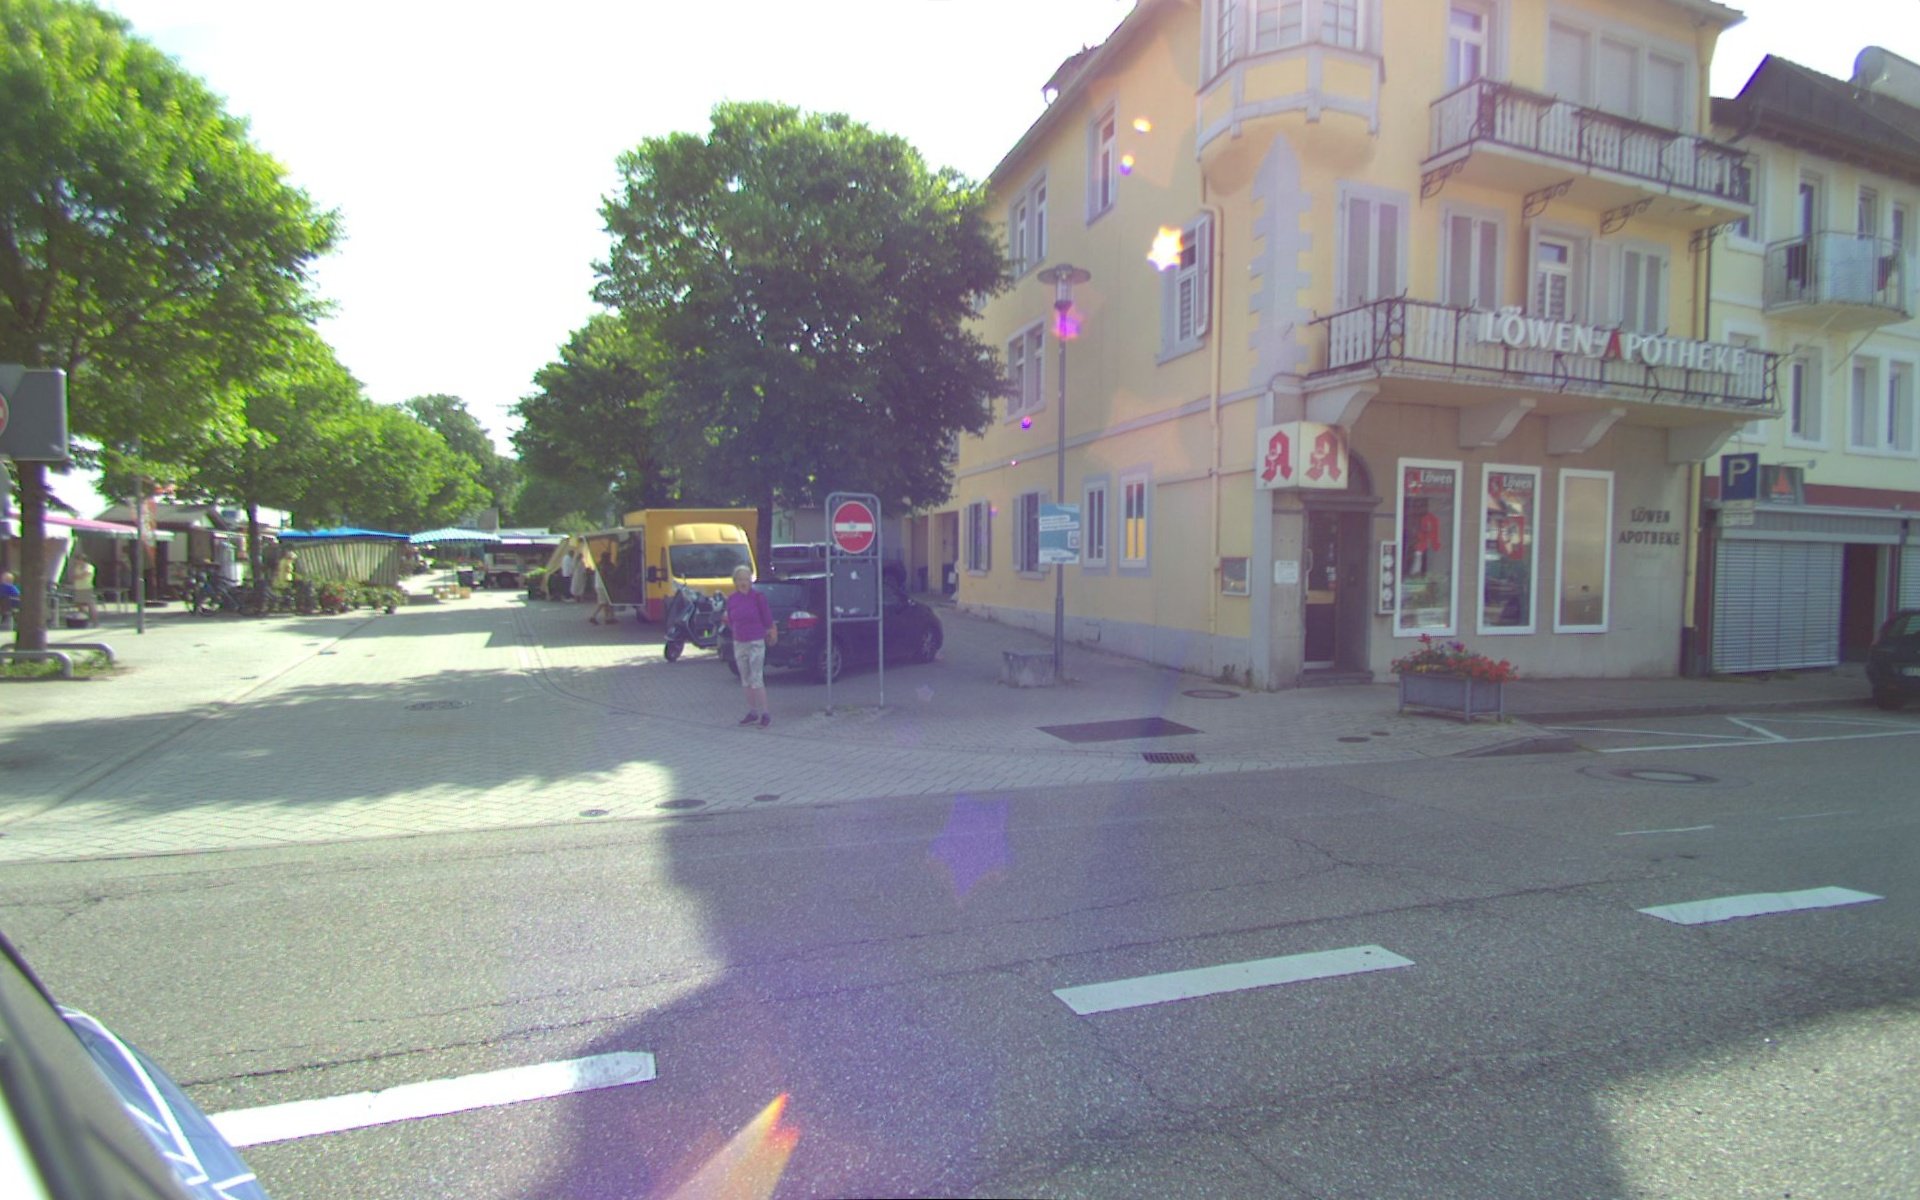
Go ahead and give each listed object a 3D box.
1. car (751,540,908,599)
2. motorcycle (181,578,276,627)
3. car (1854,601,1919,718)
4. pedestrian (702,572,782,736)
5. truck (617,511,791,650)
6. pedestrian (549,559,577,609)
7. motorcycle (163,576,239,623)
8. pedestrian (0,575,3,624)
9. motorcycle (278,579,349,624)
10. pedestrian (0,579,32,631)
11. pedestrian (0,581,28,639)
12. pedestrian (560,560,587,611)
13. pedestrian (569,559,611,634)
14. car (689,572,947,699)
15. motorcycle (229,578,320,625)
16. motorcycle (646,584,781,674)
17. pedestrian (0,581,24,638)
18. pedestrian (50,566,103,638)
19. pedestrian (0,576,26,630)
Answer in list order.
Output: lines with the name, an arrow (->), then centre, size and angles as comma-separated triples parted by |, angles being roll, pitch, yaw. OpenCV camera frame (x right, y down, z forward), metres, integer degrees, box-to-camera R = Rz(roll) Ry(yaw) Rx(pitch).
car -> -4.462, -1.004, 34.682 | 4.985, 1.905, 2.007 | 0, 1, -25
motorcycle -> -19.519, 0.056, 27.028 | 1.974, 1.204, 0.645 | 2, 1, -8
car -> 14.826, 0.823, 14.355 | 3.506, 1.580, 1.859 | 0, 1, -23
pedestrian -> -2.371, 0.567, 11.064 | 0.672, 1.727, 0.616 | 0, 2, 9
truck -> -6.577, -0.610, 24.812 | 2.958, 2.778, 8.892 | -1, 3, -22
pedestrian -> -13.682, -0.541, 34.873 | 0.671, 1.694, 0.584 | -3, 2, -37
motorcycle -> -20.745, -0.006, 27.683 | 1.506, 1.204, 0.646 | 2, 0, -21
pedestrian -> -23.830, -0.012, 24.633 | 0.562, 1.210, 0.653 | 2, 1, -20
motorcycle -> -18.498, 0.037, 28.960 | 1.991, 1.204, 0.639 | 3, 1, 21
pedestrian -> -22.577, 0.113, 24.039 | 0.562, 1.210, 0.653 | 2, 1, -20
pedestrian -> -20.353, 0.214, 21.534 | 0.688, 1.210, 0.574 | 2, 2, -35
pedestrian -> -13.165, -0.518, 34.501 | 0.671, 1.694, 0.584 | -3, 4, -38
pedestrian -> -9.119, -0.106, 24.966 | 0.671, 1.799, 0.727 | -4, 4, -43
car -> -2.000, 0.406, 15.405 | 1.916, 1.554, 3.920 | 1, 4, 30
motorcycle -> -18.861, 0.034, 27.868 | 1.974, 1.204, 0.645 | 2, 0, -8
motorcycle -> -4.175, 0.456, 17.126 | 2.051, 1.371, 0.891 | -3, 2, -23
pedestrian -> -20.993, 0.195, 22.184 | 0.562, 1.210, 0.653 | 2, 1, -32
pedestrian -> -19.802, 0.036, 22.695 | 0.687, 1.565, 0.574 | 2, 1, -15
pedestrian -> -22.118, 0.054, 23.375 | 0.562, 1.210, 0.653 | 2, 1, -20
